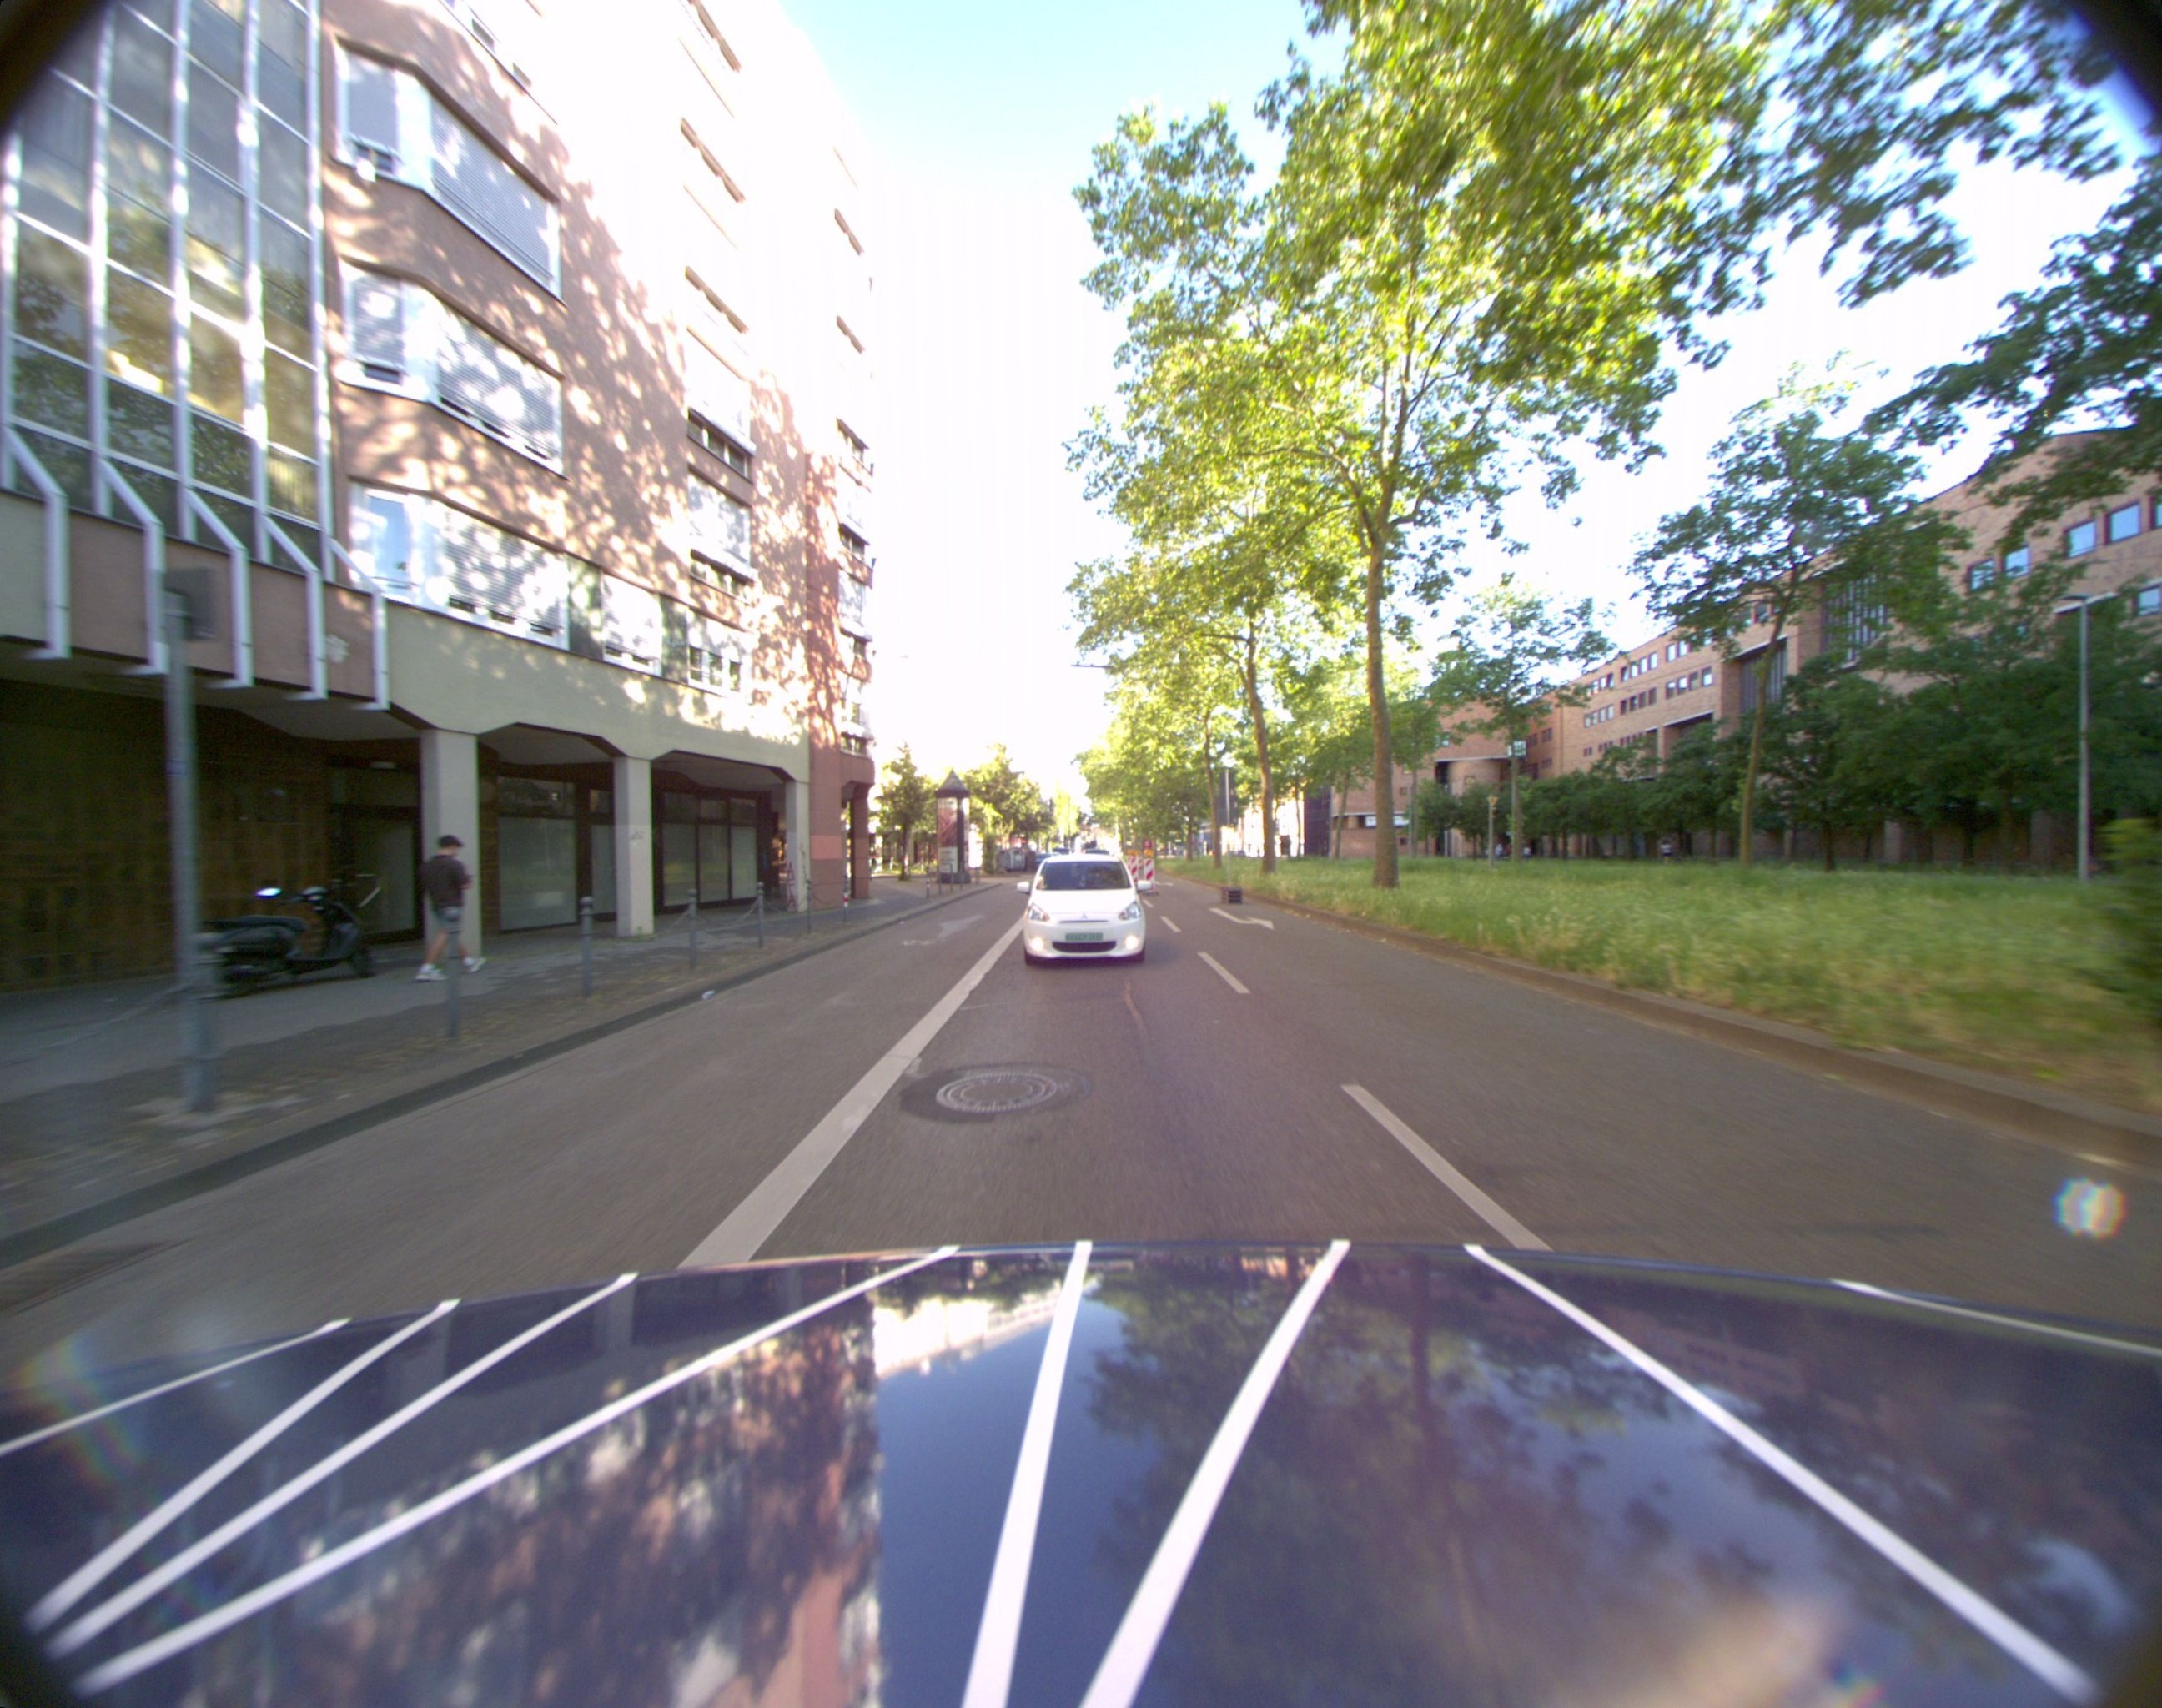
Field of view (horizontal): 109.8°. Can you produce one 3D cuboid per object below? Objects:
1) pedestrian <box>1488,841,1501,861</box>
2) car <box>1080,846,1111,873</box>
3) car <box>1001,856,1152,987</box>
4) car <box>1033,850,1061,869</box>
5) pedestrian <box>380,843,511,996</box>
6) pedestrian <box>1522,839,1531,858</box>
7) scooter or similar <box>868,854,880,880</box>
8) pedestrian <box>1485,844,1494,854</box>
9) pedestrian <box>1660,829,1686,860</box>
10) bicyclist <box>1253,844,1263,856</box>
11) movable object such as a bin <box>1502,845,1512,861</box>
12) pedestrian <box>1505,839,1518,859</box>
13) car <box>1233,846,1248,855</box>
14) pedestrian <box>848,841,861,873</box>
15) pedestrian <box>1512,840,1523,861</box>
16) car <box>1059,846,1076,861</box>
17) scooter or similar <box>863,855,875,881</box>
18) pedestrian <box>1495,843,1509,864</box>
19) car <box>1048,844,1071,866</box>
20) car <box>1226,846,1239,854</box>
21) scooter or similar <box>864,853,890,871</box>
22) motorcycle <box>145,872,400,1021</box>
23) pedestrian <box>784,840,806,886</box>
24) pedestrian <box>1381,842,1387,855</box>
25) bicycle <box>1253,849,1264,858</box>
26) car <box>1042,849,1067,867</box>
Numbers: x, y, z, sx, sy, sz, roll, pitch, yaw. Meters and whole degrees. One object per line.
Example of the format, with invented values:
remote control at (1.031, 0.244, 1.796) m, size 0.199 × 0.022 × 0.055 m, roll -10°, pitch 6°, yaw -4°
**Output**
pedestrian at (34.347, -0.273, 63.184) m, size 0.665 × 1.607 × 0.756 m, roll -1°, pitch 1°, yaw 0°
car at (0.925, 0.307, 47.419) m, size 1.824 × 1.630 × 4.000 m, roll -1°, pitch 1°, yaw 2°
car at (0.147, 0.818, 11.256) m, size 1.720 × 1.442 × 4.426 m, roll -3°, pitch 0°, yaw 6°
car at (-2.670, 0.410, 59.892) m, size 1.706 × 1.475 × 4.249 m, roll 0°, pitch 1°, yaw 4°
pedestrian at (-7.544, 0.744, 9.058) m, size 0.782 × 1.728 × 0.837 m, roll -1°, pitch 1°, yaw 10°
pedestrian at (35.948, -0.472, 61.332) m, size 0.484 × 1.497 × 0.463 m, roll -1°, pitch 1°, yaw 4°
scooter or similar at (-10.656, 0.648, 39.056) m, size 0.486 × 1.267 × 1.448 m, roll -1°, pitch 1°, yaw -18°
pedestrian at (46.451, -0.587, 86.343) m, size 0.666 × 1.191 × 0.630 m, roll -1°, pitch 1°, yaw -8°
pedestrian at (35.172, -0.581, 45.170) m, size 0.826 × 1.821 × 0.901 m, roll -1°, pitch 1°, yaw 2°
bicyclist at (22.995, -0.486, 98.658) m, size 0.943 × 1.562 × 1.209 m, roll -1°, pitch 1°, yaw 2°
movable object such as a bin at (34.141, -0.066, 60.895) m, size 0.356 × 1.272 × 0.756 m, roll -1°, pitch 1°, yaw 1°
pedestrian at (34.925, -0.414, 61.626) m, size 0.665 × 1.607 × 0.756 m, roll -1°, pitch 1°, yaw 0°
car at (25.713, -0.548, 122.577) m, size 1.675 × 1.421 × 4.149 m, roll -1°, pitch 0°, yaw 0°
pedestrian at (-13.949, 0.195, 46.782) m, size 0.642 × 1.970 × 0.774 m, roll -2°, pitch 1°, yaw -19°
pedestrian at (35.516, -0.264, 61.820) m, size 0.612 × 1.670 × 0.596 m, roll -1°, pitch 1°, yaw 0°
car at (-1.568, -0.094, 90.408) m, size 1.802 × 1.714 × 4.460 m, roll 1°, pitch 1°, yaw 2°
scooter or similar at (-10.285, 0.688, 36.856) m, size 0.486 × 1.209 × 1.448 m, roll -1°, pitch 1°, yaw -18°
pedestrian at (34.181, -0.057, 61.682) m, size 0.665 × 1.712 × 0.796 m, roll -1°, pitch 1°, yaw 0°
car at (-2.048, 0.084, 72.878) m, size 2.043 × 1.932 × 5.197 m, roll 1°, pitch 1°, yaw 0°
car at (25.907, -0.664, 129.857) m, size 1.617 × 1.421 × 3.221 m, roll -1°, pitch 0°, yaw 0°
scooter or similar at (-13.431, 0.522, 50.034) m, size 1.457 × 1.139 × 0.559 m, roll -1°, pitch 1°, yaw 7°
motorcycle at (-8.763, 0.926, 8.401) m, size 0.489 × 1.364 × 2.090 m, roll -1°, pitch 1°, yaw 2°
pedestrian at (-12.567, 0.390, 33.401) m, size 0.819 × 1.970 × 0.847 m, roll -1°, pitch 1°, yaw -18°
pedestrian at (35.120, -0.628, 87.967) m, size 0.417 × 1.535 × 0.653 m, roll -1°, pitch 1°, yaw -3°
bicycle at (23.023, -0.044, 98.748) m, size 0.959 × 1.120 × 2.436 m, roll -1°, pitch 1°, yaw 2°
car at (-2.258, 0.332, 65.774) m, size 1.705 × 1.457 × 4.176 m, roll 0°, pitch 1°, yaw 5°
